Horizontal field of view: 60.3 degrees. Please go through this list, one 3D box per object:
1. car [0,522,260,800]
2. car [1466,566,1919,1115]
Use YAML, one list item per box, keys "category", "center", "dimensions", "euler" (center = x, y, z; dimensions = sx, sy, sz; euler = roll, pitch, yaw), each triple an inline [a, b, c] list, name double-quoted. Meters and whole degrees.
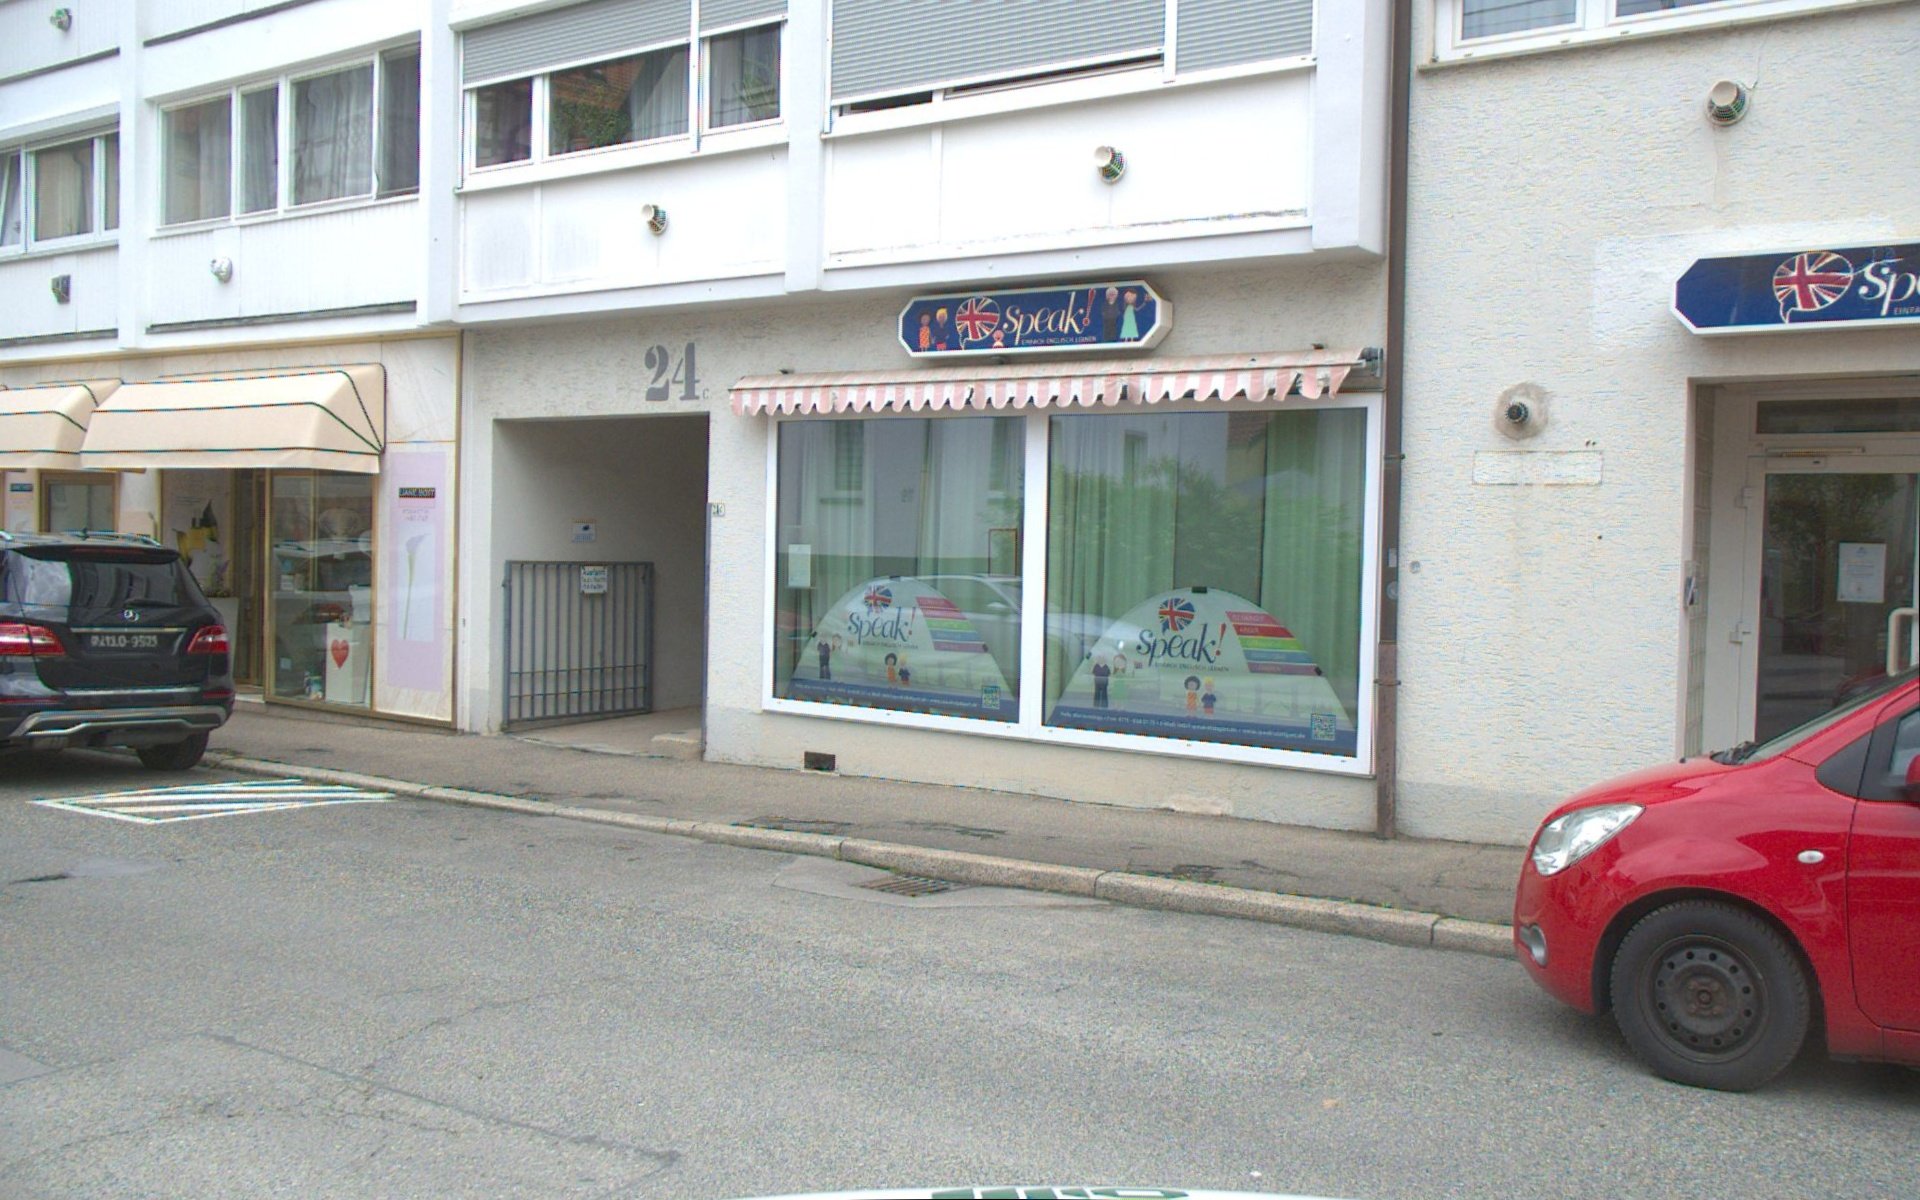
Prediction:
- category: "car"
  center: [-7.539, 0.374, 12.739]
  dimensions: [4.279, 1.811, 1.941]
  euler: [1, 0, 34]
- category: "car"
  center: [3.687, 0.743, 5.250]
  dimensions: [3.621, 1.584, 1.691]
  euler: [2, -1, 36]
